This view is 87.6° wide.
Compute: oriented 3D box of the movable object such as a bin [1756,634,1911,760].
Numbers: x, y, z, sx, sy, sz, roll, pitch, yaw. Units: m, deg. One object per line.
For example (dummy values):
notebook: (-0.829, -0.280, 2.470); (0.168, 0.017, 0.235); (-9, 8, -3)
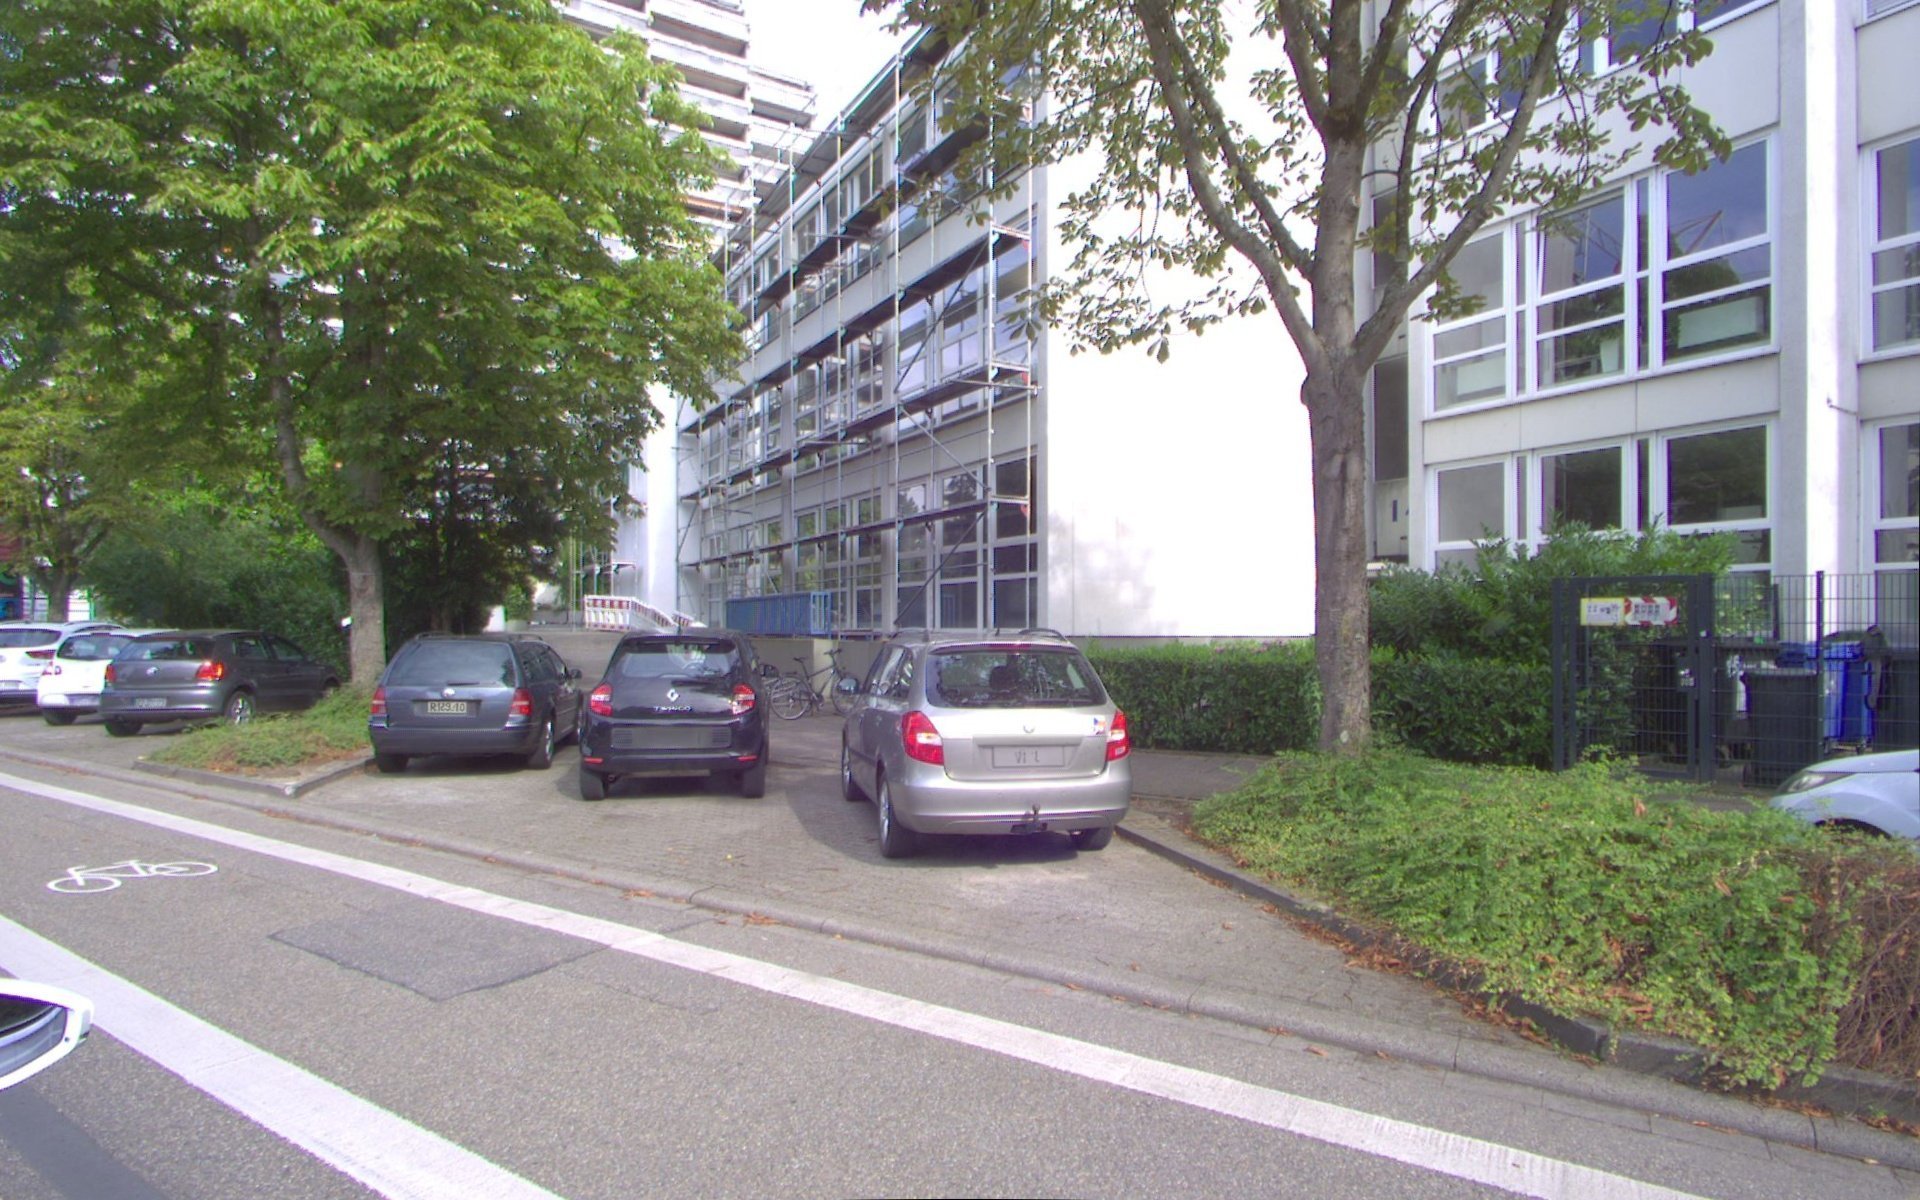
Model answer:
movable object such as a bin: (10.381, 1.104, 11.915); (1.160, 1.388, 1.171); (1, -1, -36)

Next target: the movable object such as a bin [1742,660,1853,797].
movable object such as a bin: (7.459, 1.112, 8.957); (0.734, 1.119, 0.781); (0, -1, 38)

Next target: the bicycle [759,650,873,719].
bicycle: (-2.373, 1.378, 16.603); (1.813, 1.057, 0.451); (0, 0, -29)

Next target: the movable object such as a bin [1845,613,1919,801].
movable object such as a bin: (8.596, 0.893, 8.572); (1.397, 1.549, 1.322); (-1, -1, 37)

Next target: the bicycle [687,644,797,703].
bicycle: (-4.111, 1.362, 18.957); (1.949, 1.057, 0.591); (1, -1, -30)

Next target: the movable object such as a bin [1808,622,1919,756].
movable object such as a bin: (11.564, 1.079, 12.576); (1.160, 1.588, 1.171); (1, -1, -36)

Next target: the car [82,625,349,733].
car: (-11.095, 1.112, 15.267); (1.650, 1.438, 3.647); (0, -2, -6)

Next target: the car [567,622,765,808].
car: (-2.816, 1.016, 10.200); (1.566, 1.557, 3.416); (1, -1, -10)

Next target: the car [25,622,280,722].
car: (-13.434, 1.140, 16.969); (1.650, 1.493, 3.647); (0, -2, -6)

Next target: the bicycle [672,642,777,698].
bicycle: (-4.632, 1.359, 19.692); (1.944, 1.057, 0.593); (1, -1, -20)

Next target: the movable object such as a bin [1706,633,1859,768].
movable object such as a bin: (9.237, 1.078, 11.262); (1.050, 1.409, 1.111); (1, -1, -36)

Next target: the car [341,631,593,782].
car: (-5.521, 1.091, 11.796); (1.783, 1.433, 4.166); (0, -2, -13)

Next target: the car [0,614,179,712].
car: (-16.292, 1.107, 18.380); (1.651, 1.623, 3.644); (0, -2, -12)

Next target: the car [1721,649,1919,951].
car: (5.566, 0.946, 4.025); (1.604, 1.411, 3.858); (1, -2, -13)

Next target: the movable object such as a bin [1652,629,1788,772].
movable object such as a bin: (8.075, 1.025, 10.649); (1.012, 1.425, 0.906); (1, -1, -36)

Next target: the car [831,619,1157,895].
car: (-0.022, 0.963, 7.825); (1.566, 1.557, 4.049); (1, -2, -13)
